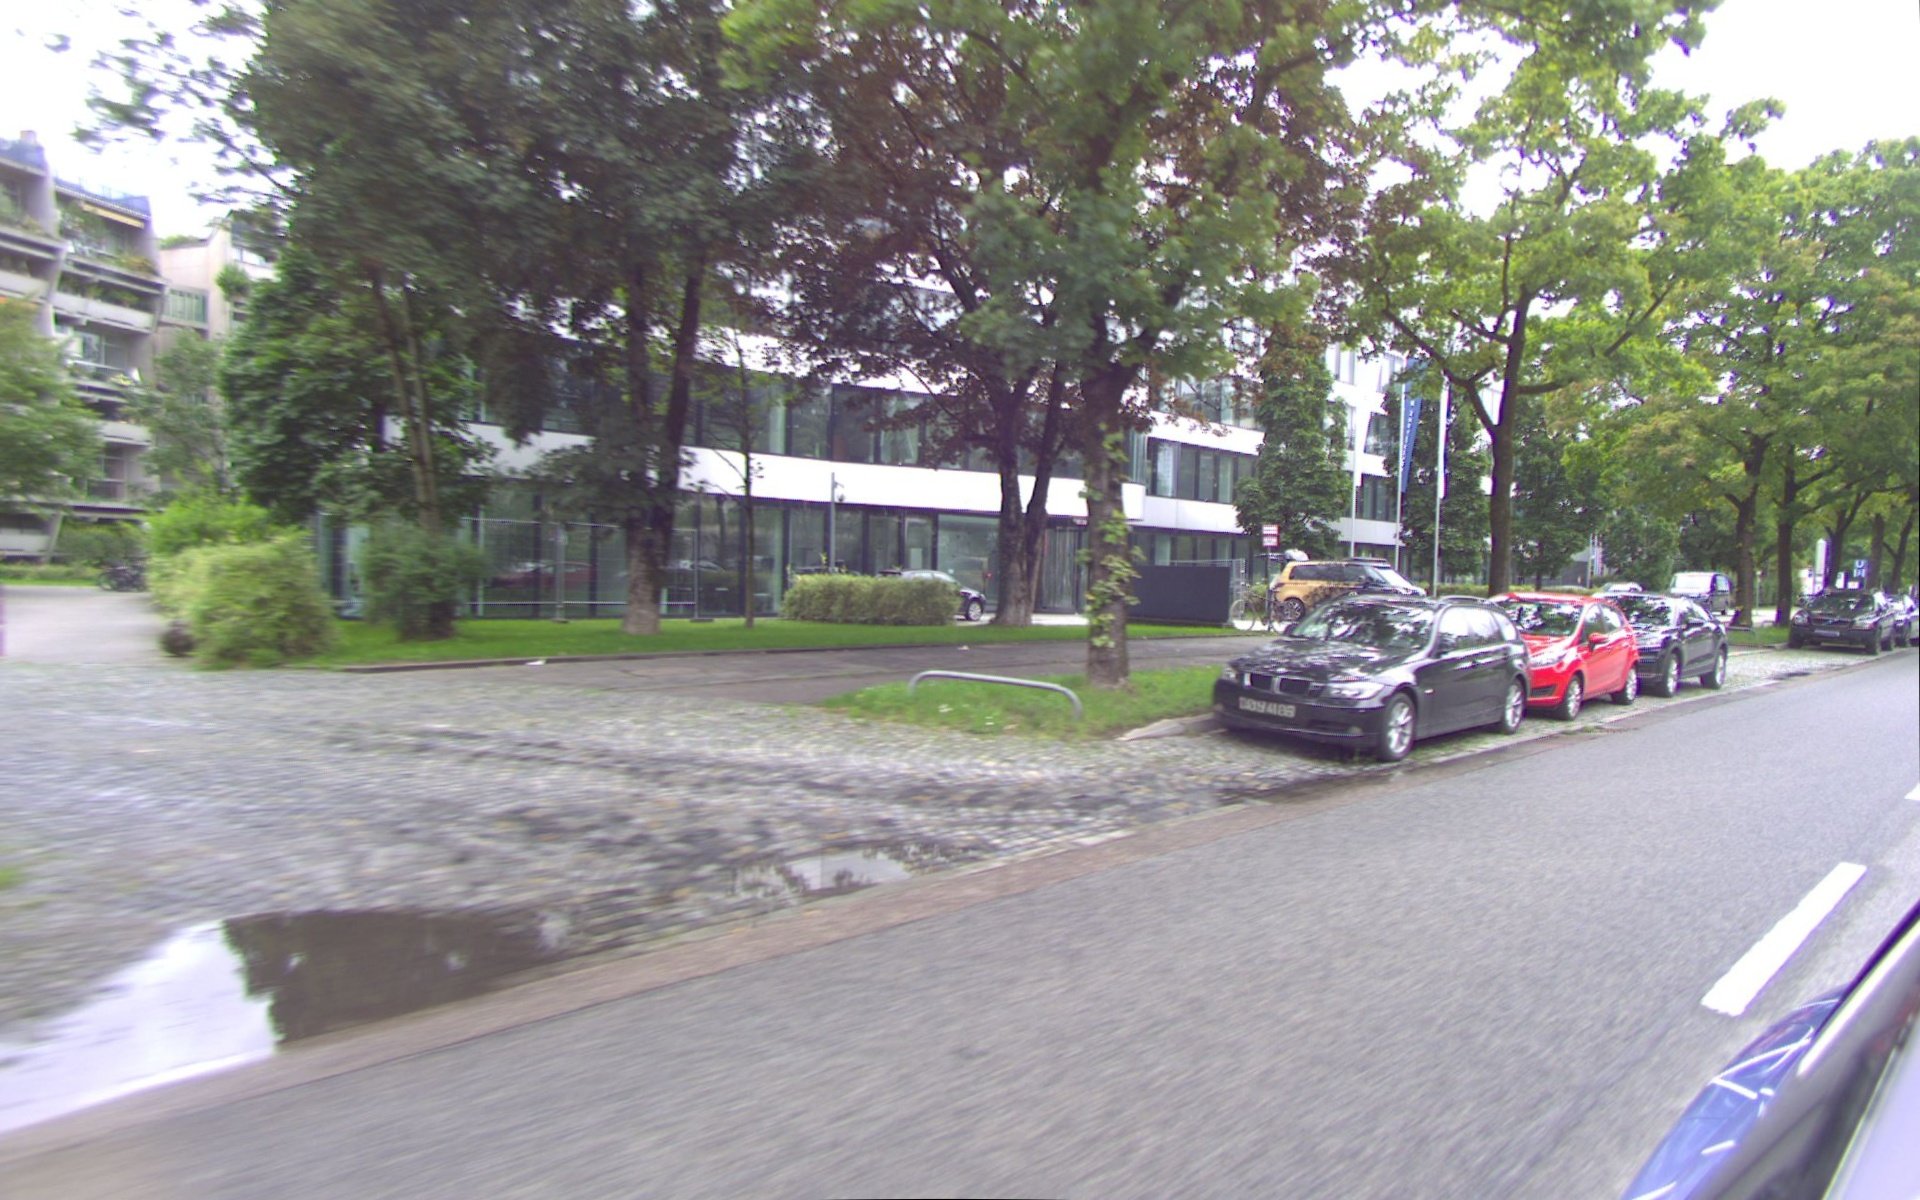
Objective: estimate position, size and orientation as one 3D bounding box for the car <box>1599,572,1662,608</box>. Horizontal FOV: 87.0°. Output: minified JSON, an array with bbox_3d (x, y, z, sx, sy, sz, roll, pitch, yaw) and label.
[{"bbox_3d":[37.223,-0.547,56.156,4.396,1.840,1.845,0,3,-43],"label":"car"}]

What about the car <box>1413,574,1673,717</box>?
[{"bbox_3d":[7.712,0.491,13.246,3.951,1.519,1.679,0,4,-41],"label":"car"}]

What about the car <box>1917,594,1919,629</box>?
[{"bbox_3d":[42.487,0.514,43.367,3.908,1.464,1.705,0,3,-41],"label":"car"}]

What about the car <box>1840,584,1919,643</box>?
[{"bbox_3d":[29.773,0.387,32.218,4.713,1.696,1.818,0,3,-39],"label":"car"}]

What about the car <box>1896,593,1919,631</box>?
[{"bbox_3d":[38.585,0.473,40.075,4.048,1.438,1.705,0,3,-41],"label":"car"}]

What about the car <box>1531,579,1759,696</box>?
[{"bbox_3d":[10.970,0.513,16.109,4.207,1.529,1.785,0,4,-39],"label":"car"}]

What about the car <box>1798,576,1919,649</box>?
[{"bbox_3d":[25.280,0.299,28.406,4.776,1.822,1.897,0,3,-41],"label":"car"}]

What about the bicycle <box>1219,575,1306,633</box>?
[{"bbox_3d":[6.673,0.078,22.295,2.207,1.197,0.750,0,2,-41],"label":"bicycle"}]

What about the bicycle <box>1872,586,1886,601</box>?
[{"bbox_3d":[80.789,-0.556,88.970,1.826,1.241,0.532,2,2,-37],"label":"bicycle"}]

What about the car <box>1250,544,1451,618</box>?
[{"bbox_3d":[12.041,-0.646,31.554,2.109,2.109,5.481,0,2,-41],"label":"car"}]

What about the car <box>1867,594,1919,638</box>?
[{"bbox_3d":[33.804,0.533,35.846,4.430,1.425,1.707,0,3,-38],"label":"car"}]

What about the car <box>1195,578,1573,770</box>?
[{"bbox_3d":[4.481,0.585,10.333,4.502,1.471,1.679,0,4,-41],"label":"car"}]

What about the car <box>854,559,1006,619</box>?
[{"bbox_3d":[-0.824,-0.325,28.985,3.979,1.567,2.022,0,2,-42],"label":"car"}]

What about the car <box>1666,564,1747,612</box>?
[{"bbox_3d":[39.824,-0.642,53.938,6.162,2.335,2.268,0,3,-43],"label":"car"}]
